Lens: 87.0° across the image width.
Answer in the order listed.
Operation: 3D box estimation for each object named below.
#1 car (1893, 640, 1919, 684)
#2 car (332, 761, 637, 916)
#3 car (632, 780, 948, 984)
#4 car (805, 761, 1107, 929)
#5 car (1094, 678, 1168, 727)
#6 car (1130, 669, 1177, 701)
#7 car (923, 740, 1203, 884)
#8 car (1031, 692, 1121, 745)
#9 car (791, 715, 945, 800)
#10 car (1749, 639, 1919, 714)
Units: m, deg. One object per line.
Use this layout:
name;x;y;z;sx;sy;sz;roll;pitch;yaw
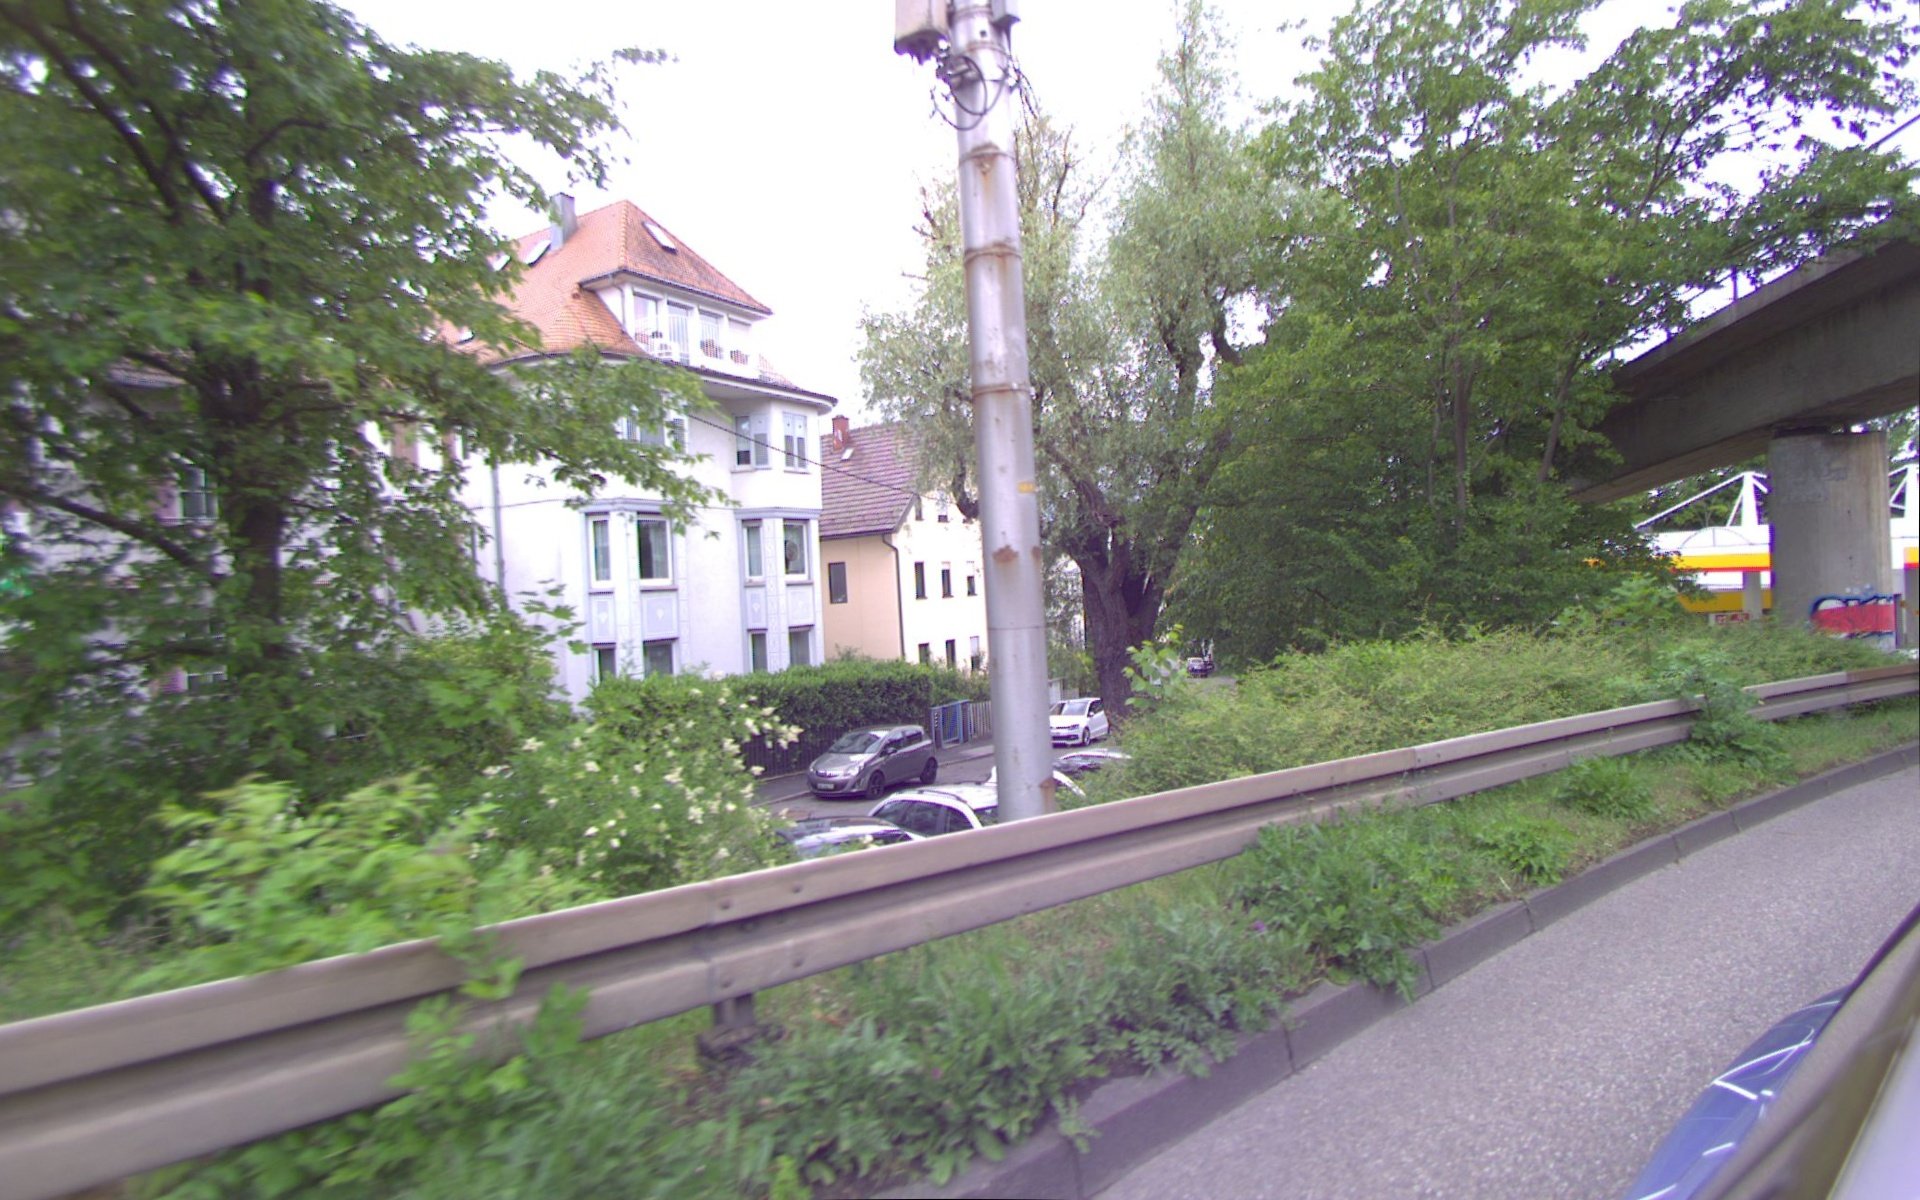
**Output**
car;37.450;2.252;37.641;3.803;1.504;1.742;-3;1;-1
car;-7.033;3.461;15.371;1.610;1.467;4.012;-3;-3;31
car;-2.080;2.993;11.478;1.597;1.363;4.047;1;-3;-42
car;-0.202;2.999;13.117;1.597;1.388;4.047;1;-3;-42
car;6.621;3.878;38.839;1.608;1.541;4.263;-3;-3;26
car;9.468;4.141;49.708;1.572;1.367;3.583;-3;-3;1
car;1.383;2.972;14.904;1.597;1.467;4.047;1;-3;-42
car;3.911;3.883;33.666;1.636;1.413;3.730;-3;-3;29
car;-2.061;3.607;23.721;1.609;1.467;3.987;-3;-3;29
car;28.719;2.455;32.950;4.622;2.035;1.742;-3;0;-2
